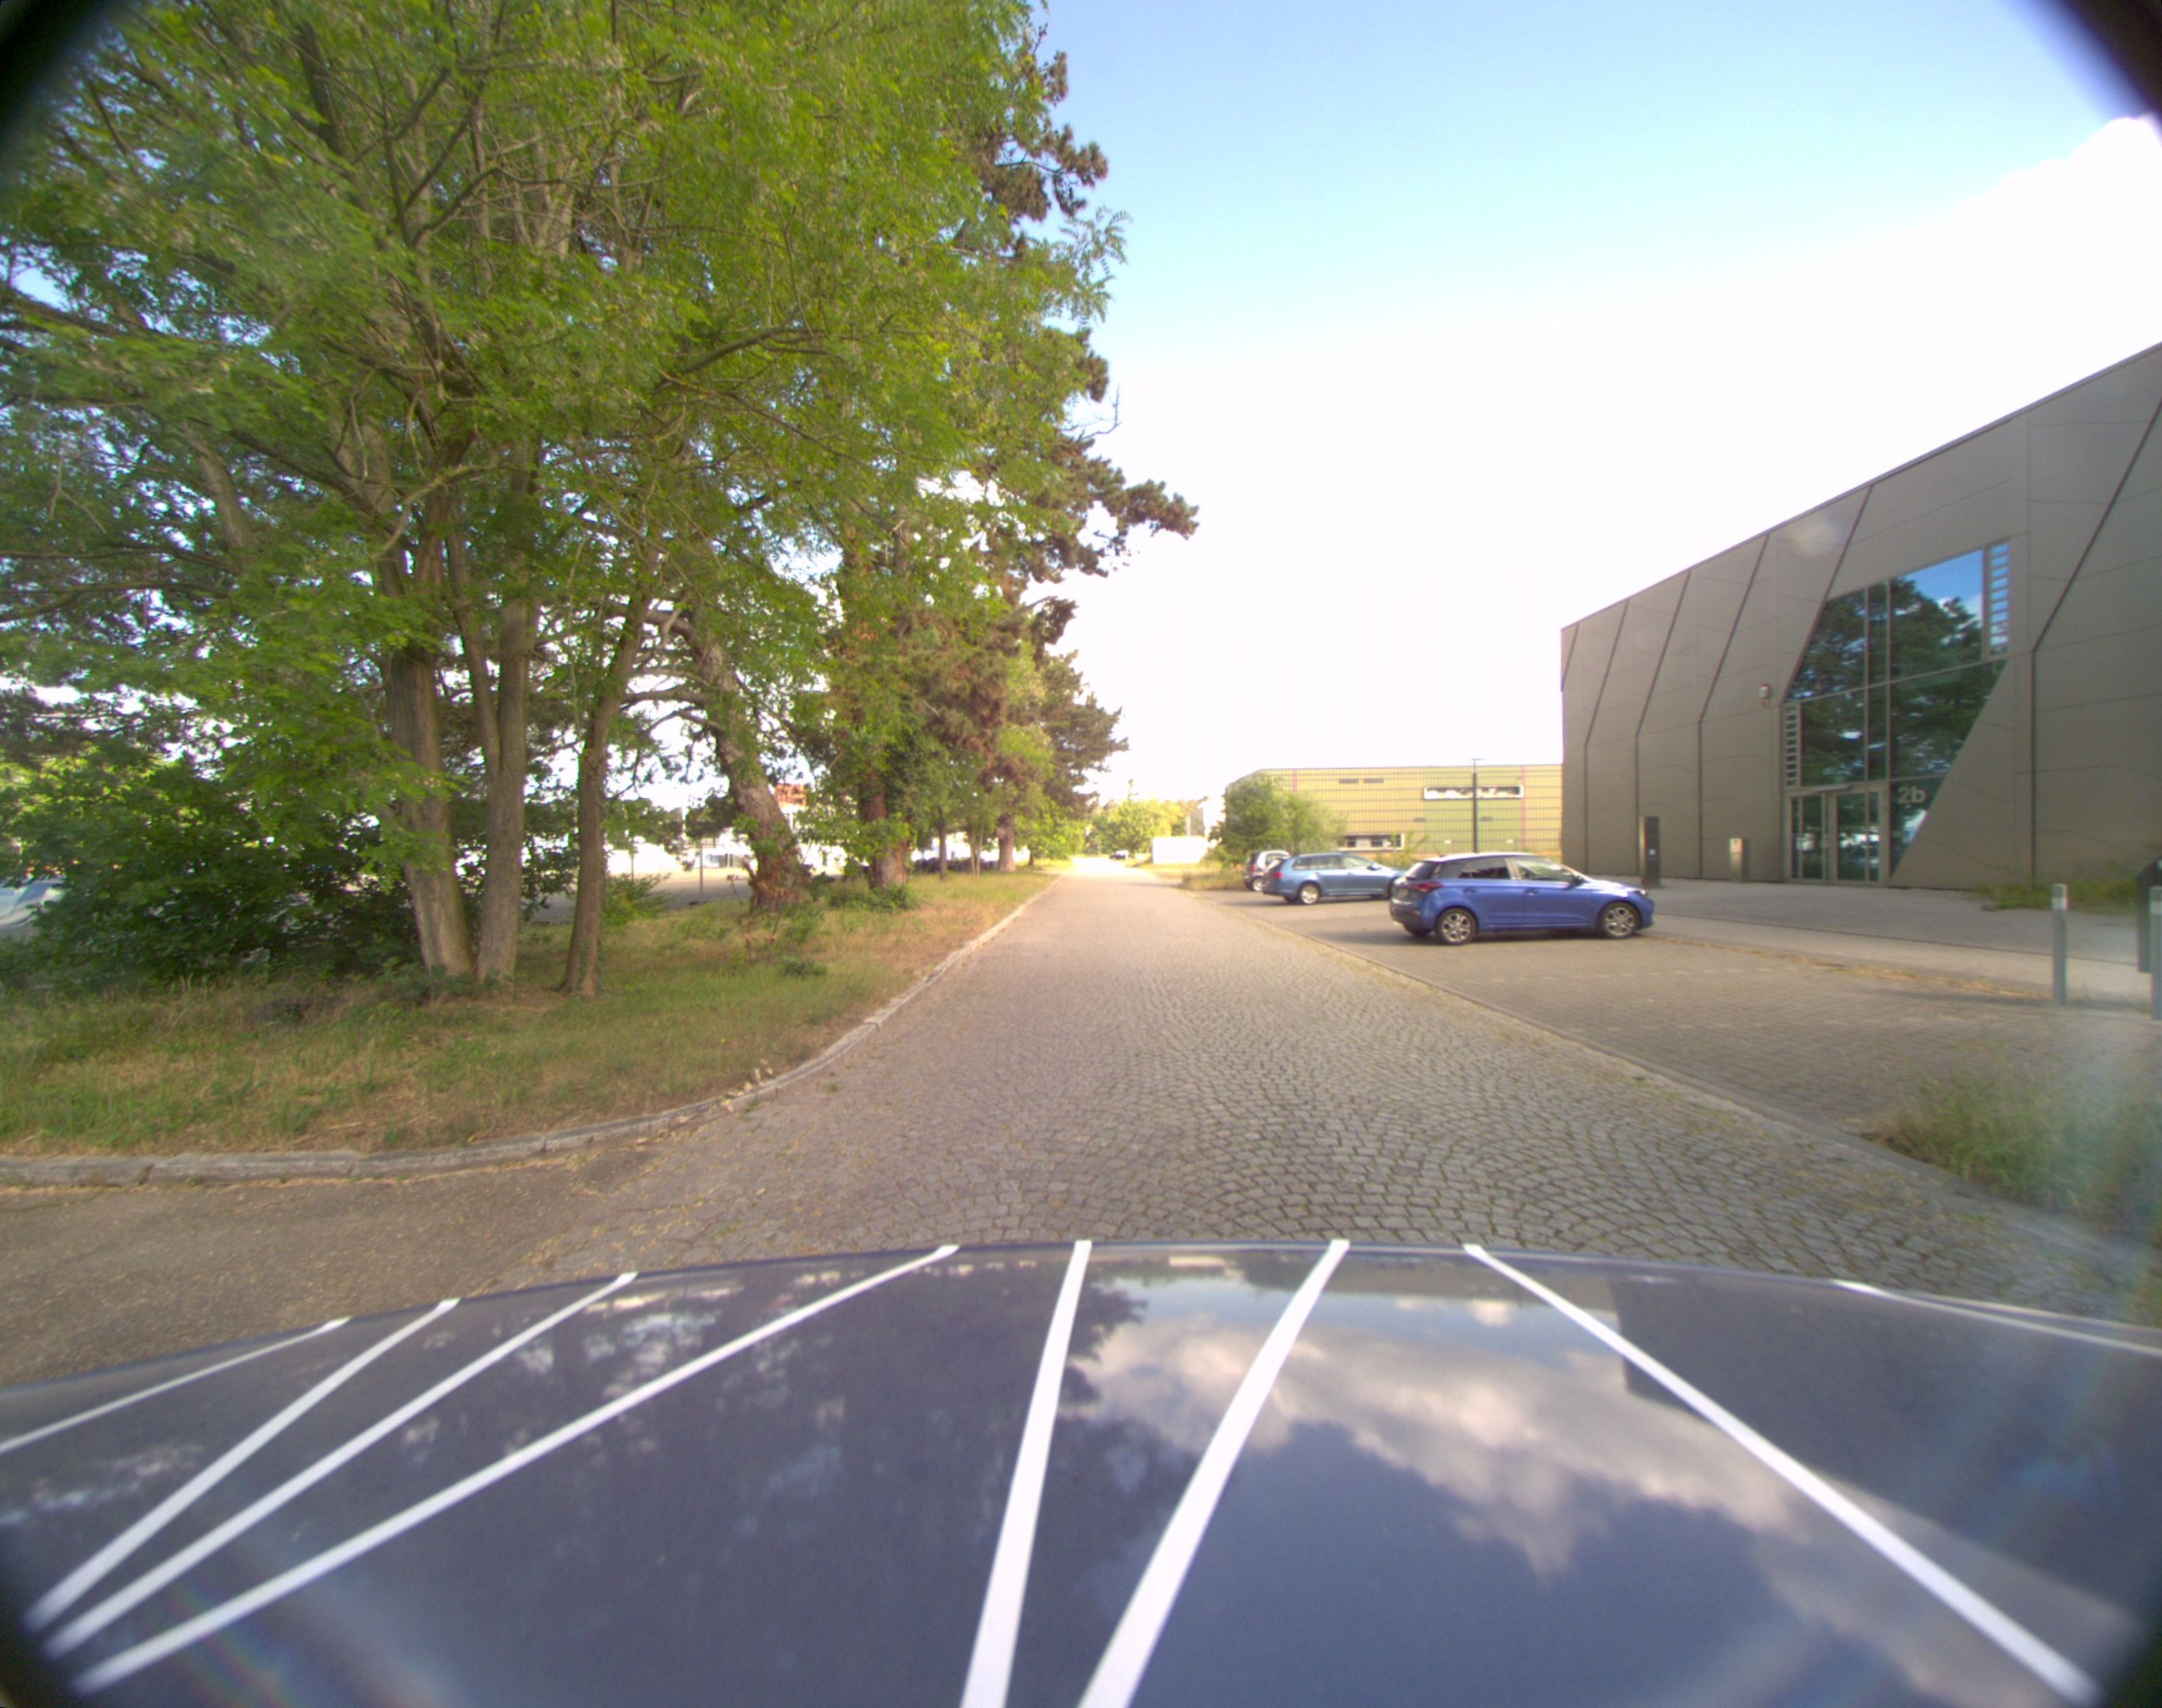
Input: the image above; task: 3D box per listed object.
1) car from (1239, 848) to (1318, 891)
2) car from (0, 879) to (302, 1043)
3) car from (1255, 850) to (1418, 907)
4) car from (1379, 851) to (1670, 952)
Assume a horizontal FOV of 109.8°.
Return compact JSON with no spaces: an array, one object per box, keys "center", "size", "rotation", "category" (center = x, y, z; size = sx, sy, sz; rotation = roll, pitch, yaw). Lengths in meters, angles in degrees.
[{"center":[7.731,0.589,29.856],"size":[2.652,1.559,1.481],"rotation":[-2,1,0],"category":"car"},{"center":[-11.126,1.086,8.108],"size":[1.578,1.435,3.985],"rotation":[-1,1,-2],"category":"car"},{"center":[7.485,0.691,22.516],"size":[4.179,1.465,1.734],"rotation":[-2,1,-1],"category":"car"},{"center":[7.411,0.771,13.017],"size":[3.918,1.460,1.735],"rotation":[-2,1,3],"category":"car"}]
